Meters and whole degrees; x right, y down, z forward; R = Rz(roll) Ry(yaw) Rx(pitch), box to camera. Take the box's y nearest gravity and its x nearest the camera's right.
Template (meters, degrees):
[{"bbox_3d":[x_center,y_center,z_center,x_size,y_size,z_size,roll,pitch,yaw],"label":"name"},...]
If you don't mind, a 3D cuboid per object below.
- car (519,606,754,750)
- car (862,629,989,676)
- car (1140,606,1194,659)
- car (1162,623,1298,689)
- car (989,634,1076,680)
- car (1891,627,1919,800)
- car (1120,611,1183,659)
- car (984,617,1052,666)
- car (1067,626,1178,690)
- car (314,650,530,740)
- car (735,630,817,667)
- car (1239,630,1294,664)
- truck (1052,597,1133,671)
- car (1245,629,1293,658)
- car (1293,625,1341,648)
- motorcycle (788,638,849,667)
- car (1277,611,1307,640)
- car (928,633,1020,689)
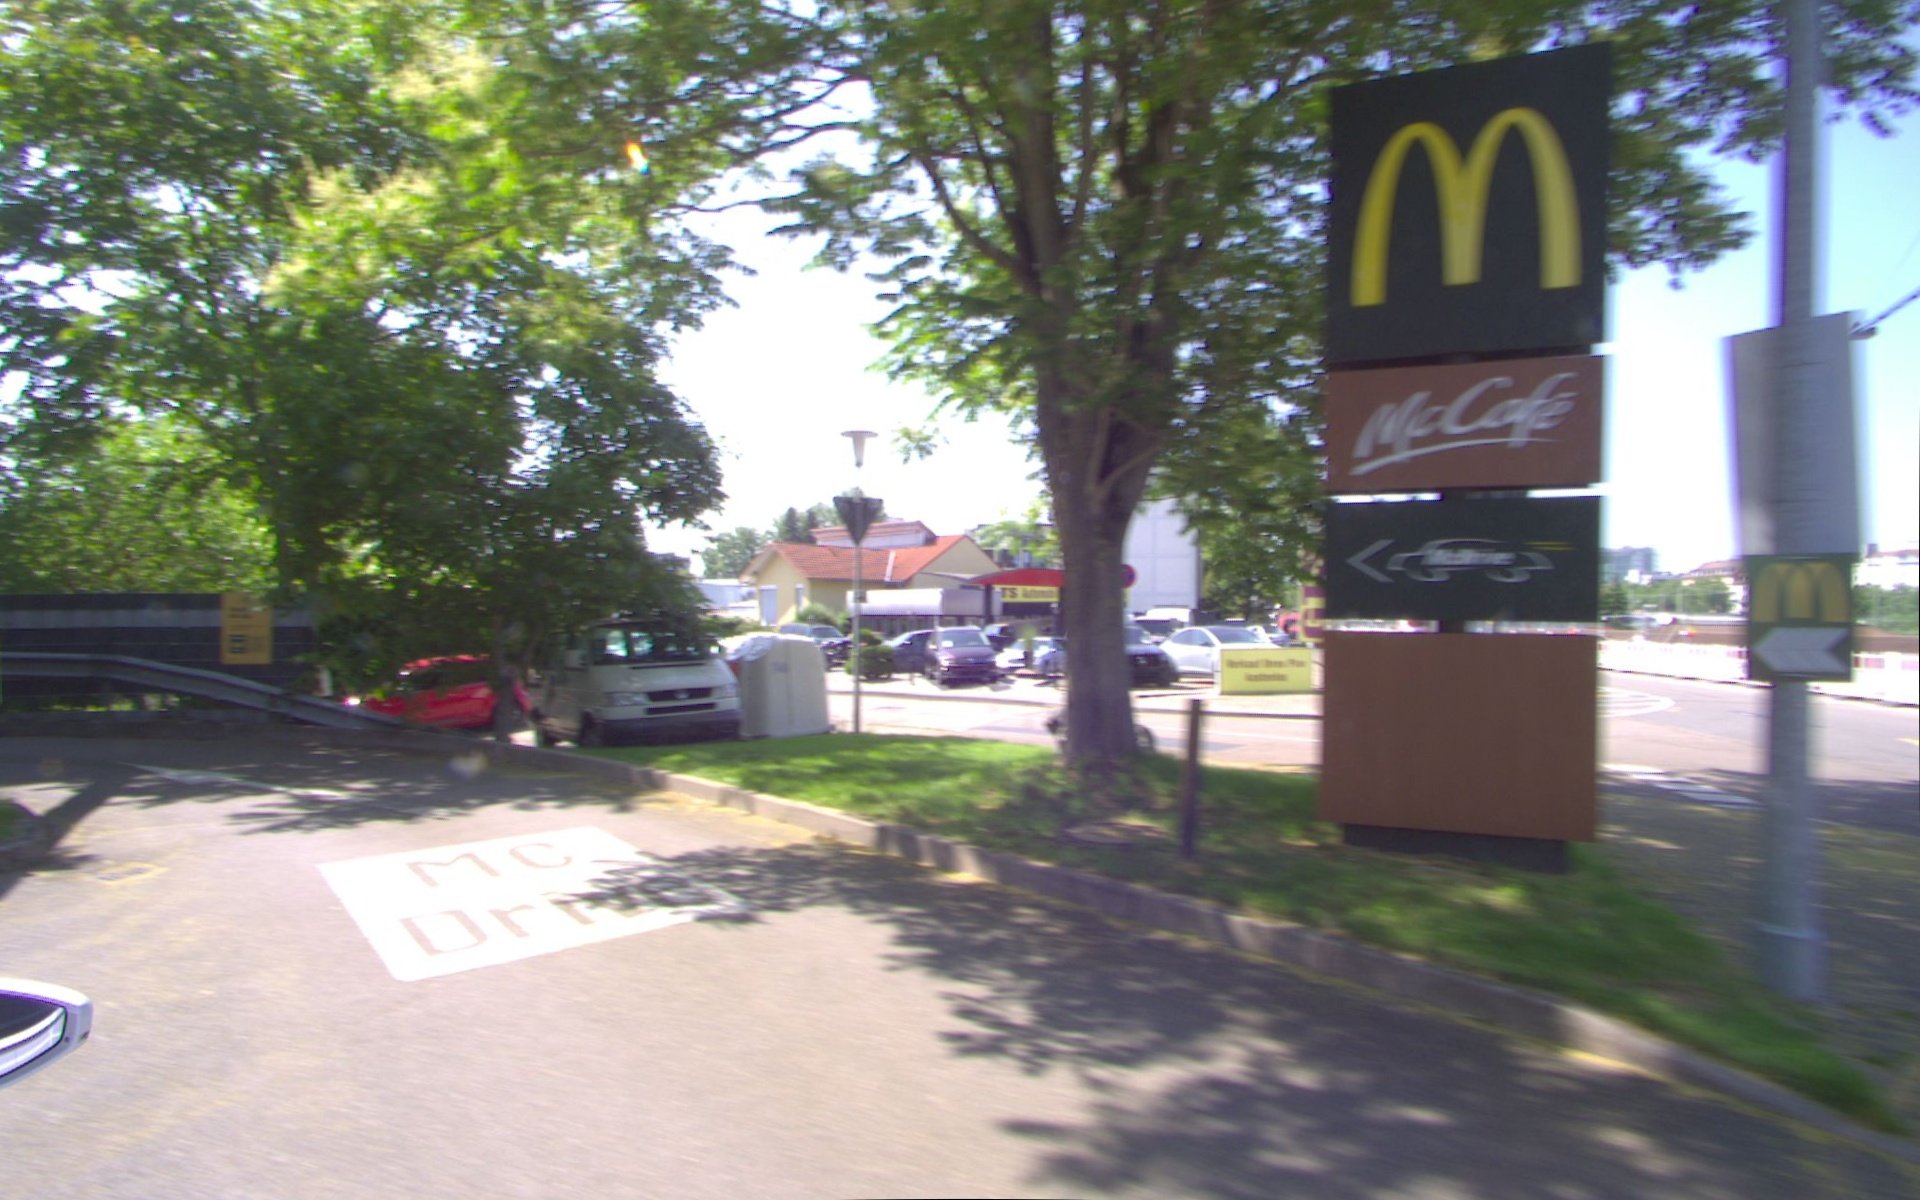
[{"bbox_3d":[-4.687,0.930,13.929,1.932,1.603,5.001,2,-1,-32],"label":"car"},{"bbox_3d":[-1.269,1.927,36.931,4.262,1.605,1.995,2,-2,-20],"label":"car"},{"bbox_3d":[9.652,1.486,46.434,2.103,2.314,4.706,1,-1,16],"label":"car"},{"bbox_3d":[7.672,1.568,28.882,1.965,1.747,3.994,2,-2,-17],"label":"car"},{"bbox_3d":[2.658,2.001,35.825,1.764,1.506,3.989,1,-2,25],"label":"car"},{"bbox_3d":[10.527,1.038,7.548,1.962,1.666,5.030,0,-1,-8],"label":"car"},{"bbox_3d":[7.831,1.412,40.680,1.850,1.760,4.716,2,-1,18],"label":"car"},{"bbox_3d":[2.640,1.832,44.476,1.964,2.039,4.491,1,-2,18],"label":"car"},{"bbox_3d":[4.476,1.569,28.219,2.014,1.615,4.424,2,-2,-5],"label":"car"},{"bbox_3d":[-10.171,1.731,19.038,3.379,1.397,1.472,1,1,-42],"label":"car"},{"bbox_3d":[-8.640,2.258,46.864,1.980,1.605,3.964,3,-2,-41],"label":"car"},{"bbox_3d":[15.835,2.414,51.931,1.826,1.650,4.001,1,-1,3],"label":"car"},{"bbox_3d":[5.931,1.473,44.019,2.236,2.941,5.933,2,-1,20],"label":"truck"},{"bbox_3d":[18.413,2.572,59.846,1.826,1.650,4.001,1,-1,3],"label":"car"},{"bbox_3d":[28.052,2.877,78.713,3.229,1.658,1.721,2,-2,-24],"label":"car"},{"bbox_3d":[-6.170,2.296,43.854,0.987,1.242,2.700,0,-2,39],"label":"motorcycle"},{"bbox_3d":[30.653,2.410,92.535,2.500,2.552,5.113,1,-2,18],"label":"car"},{"bbox_3d":[0.513,1.794,30.356,1.761,1.529,3.997,1,-2,16],"label":"car"}]
